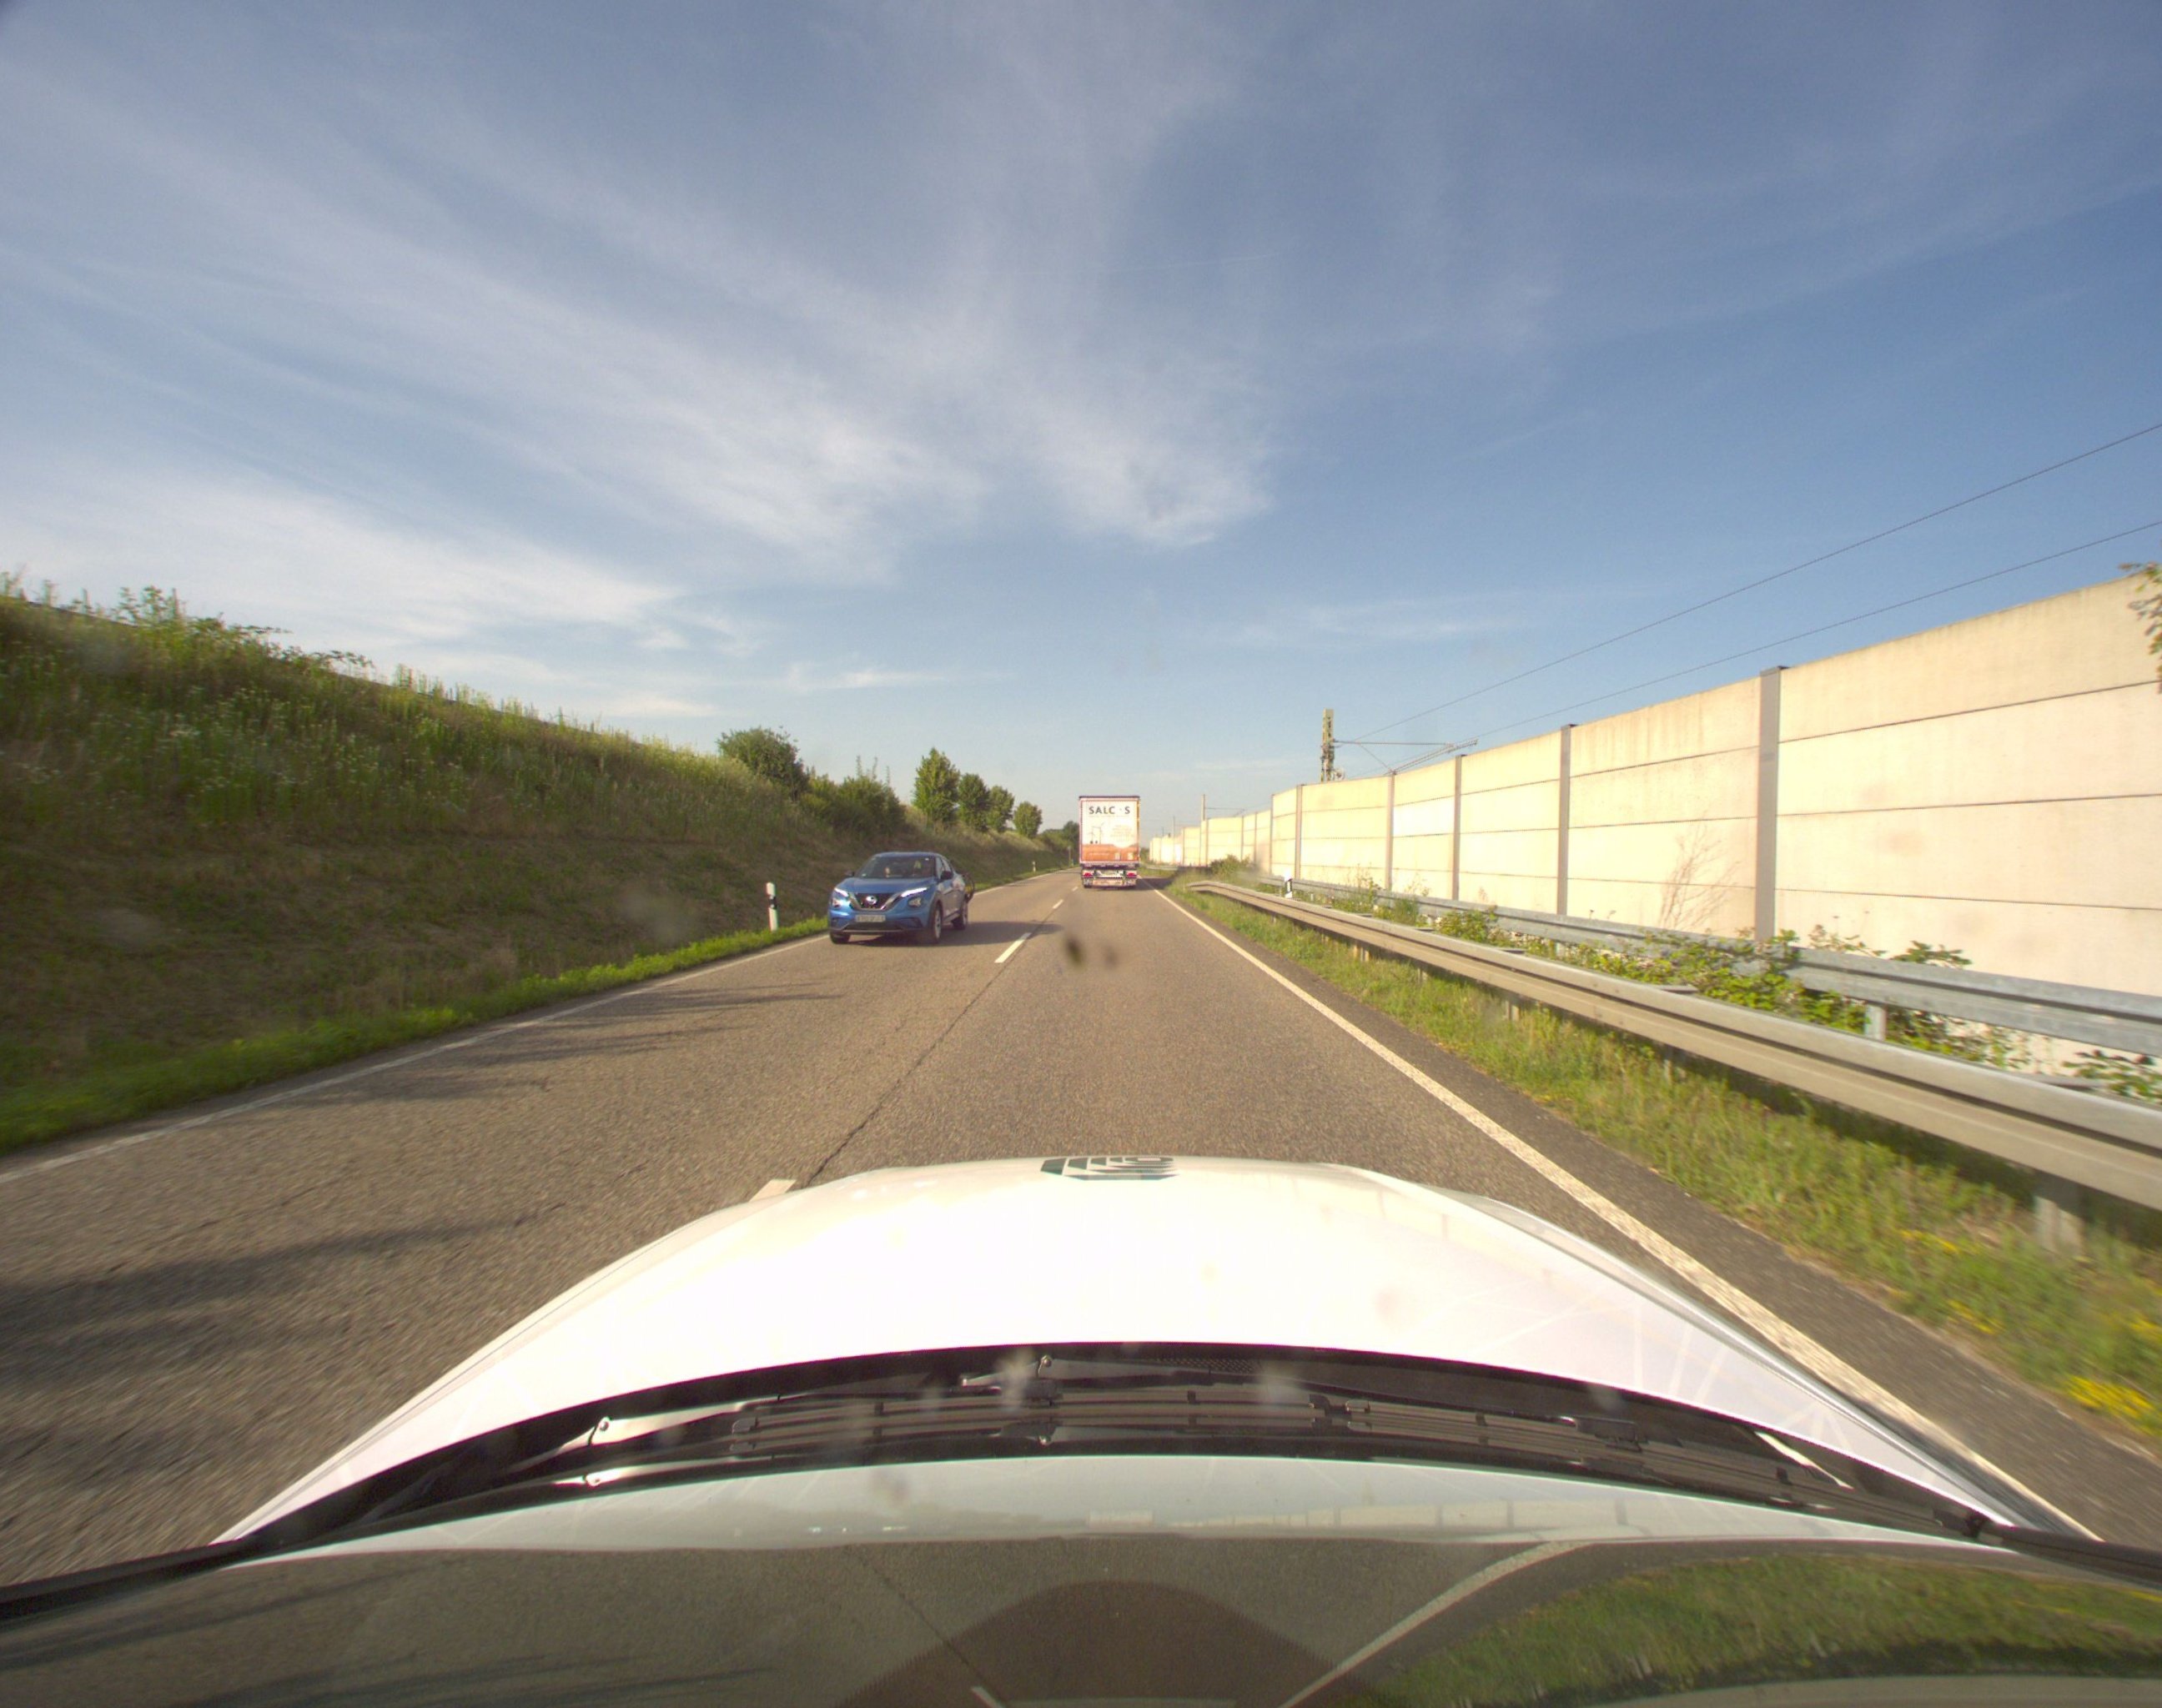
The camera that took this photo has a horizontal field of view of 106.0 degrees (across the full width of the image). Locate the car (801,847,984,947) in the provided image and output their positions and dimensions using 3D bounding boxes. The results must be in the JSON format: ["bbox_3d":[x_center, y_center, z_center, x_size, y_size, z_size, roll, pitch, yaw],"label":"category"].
[{"bbox_3d":[-3.340,0.704,15.721,2.133,1.573,5.341,1,0,2],"label":"car"}]

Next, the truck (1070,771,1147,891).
[{"bbox_3d":[1.363,-0.966,40.581,3.278,5.090,12.042,0,0,2],"label":"truck"}]
